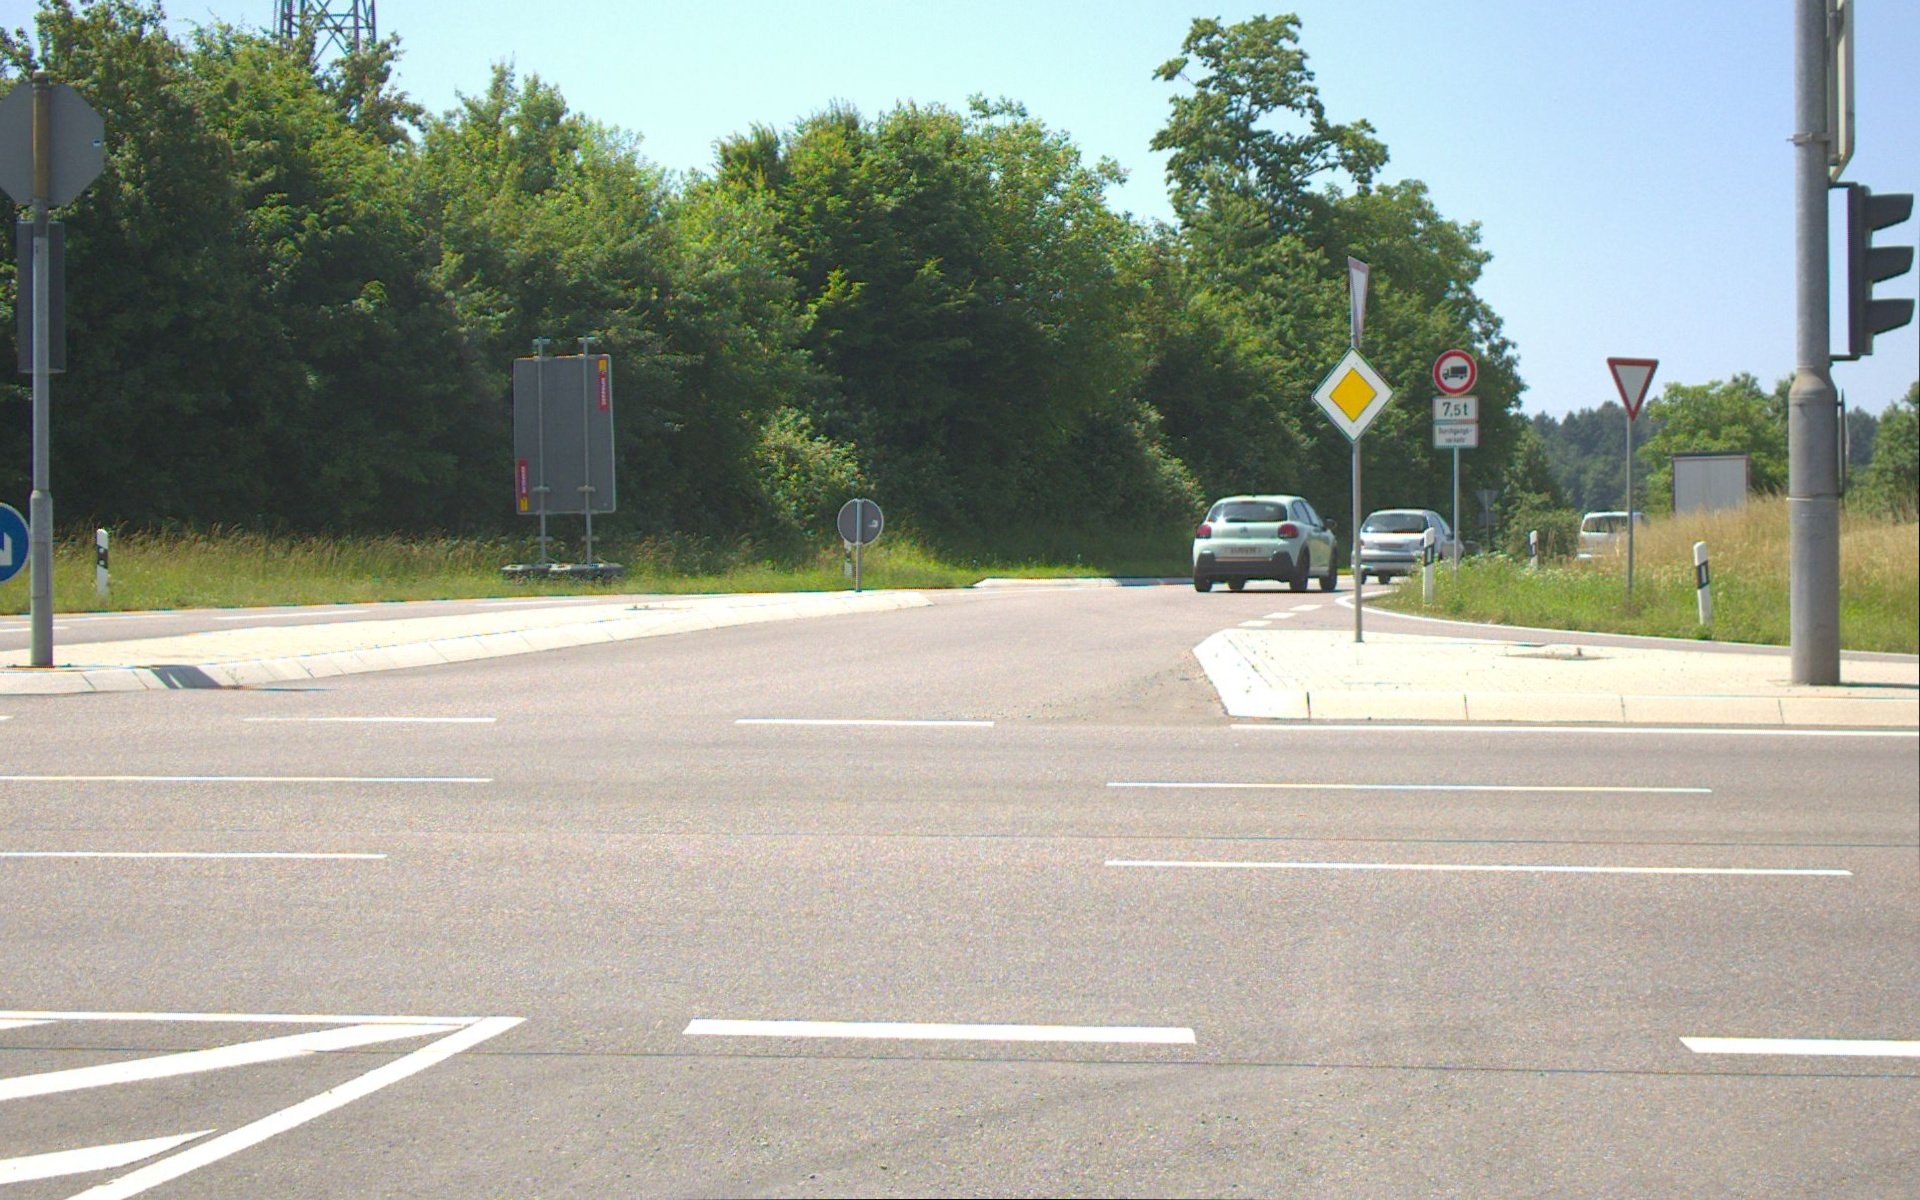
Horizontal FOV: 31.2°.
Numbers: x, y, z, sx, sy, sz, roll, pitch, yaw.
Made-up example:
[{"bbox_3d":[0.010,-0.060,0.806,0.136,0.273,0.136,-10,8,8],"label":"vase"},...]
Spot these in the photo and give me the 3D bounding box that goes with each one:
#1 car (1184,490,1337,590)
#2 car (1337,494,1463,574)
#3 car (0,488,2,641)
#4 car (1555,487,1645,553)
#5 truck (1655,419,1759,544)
[{"bbox_3d":[4.668,-0.959,52.957,1.730,1.399,3.985,2,3,14],"label":"car"},{"bbox_3d":[8.392,-1.277,65.337,1.814,1.408,3.781,1,3,16],"label":"car"},{"bbox_3d":[-9.755,-0.257,29.087,1.566,1.366,3.529,1,3,16],"label":"car"},{"bbox_3d":[16.605,-2.077,89.025,1.814,1.619,4.057,0,3,18],"label":"car"},{"bbox_3d":[26.919,-4.183,123.419,3.127,4.158,16.677,1,1,14],"label":"truck"}]
